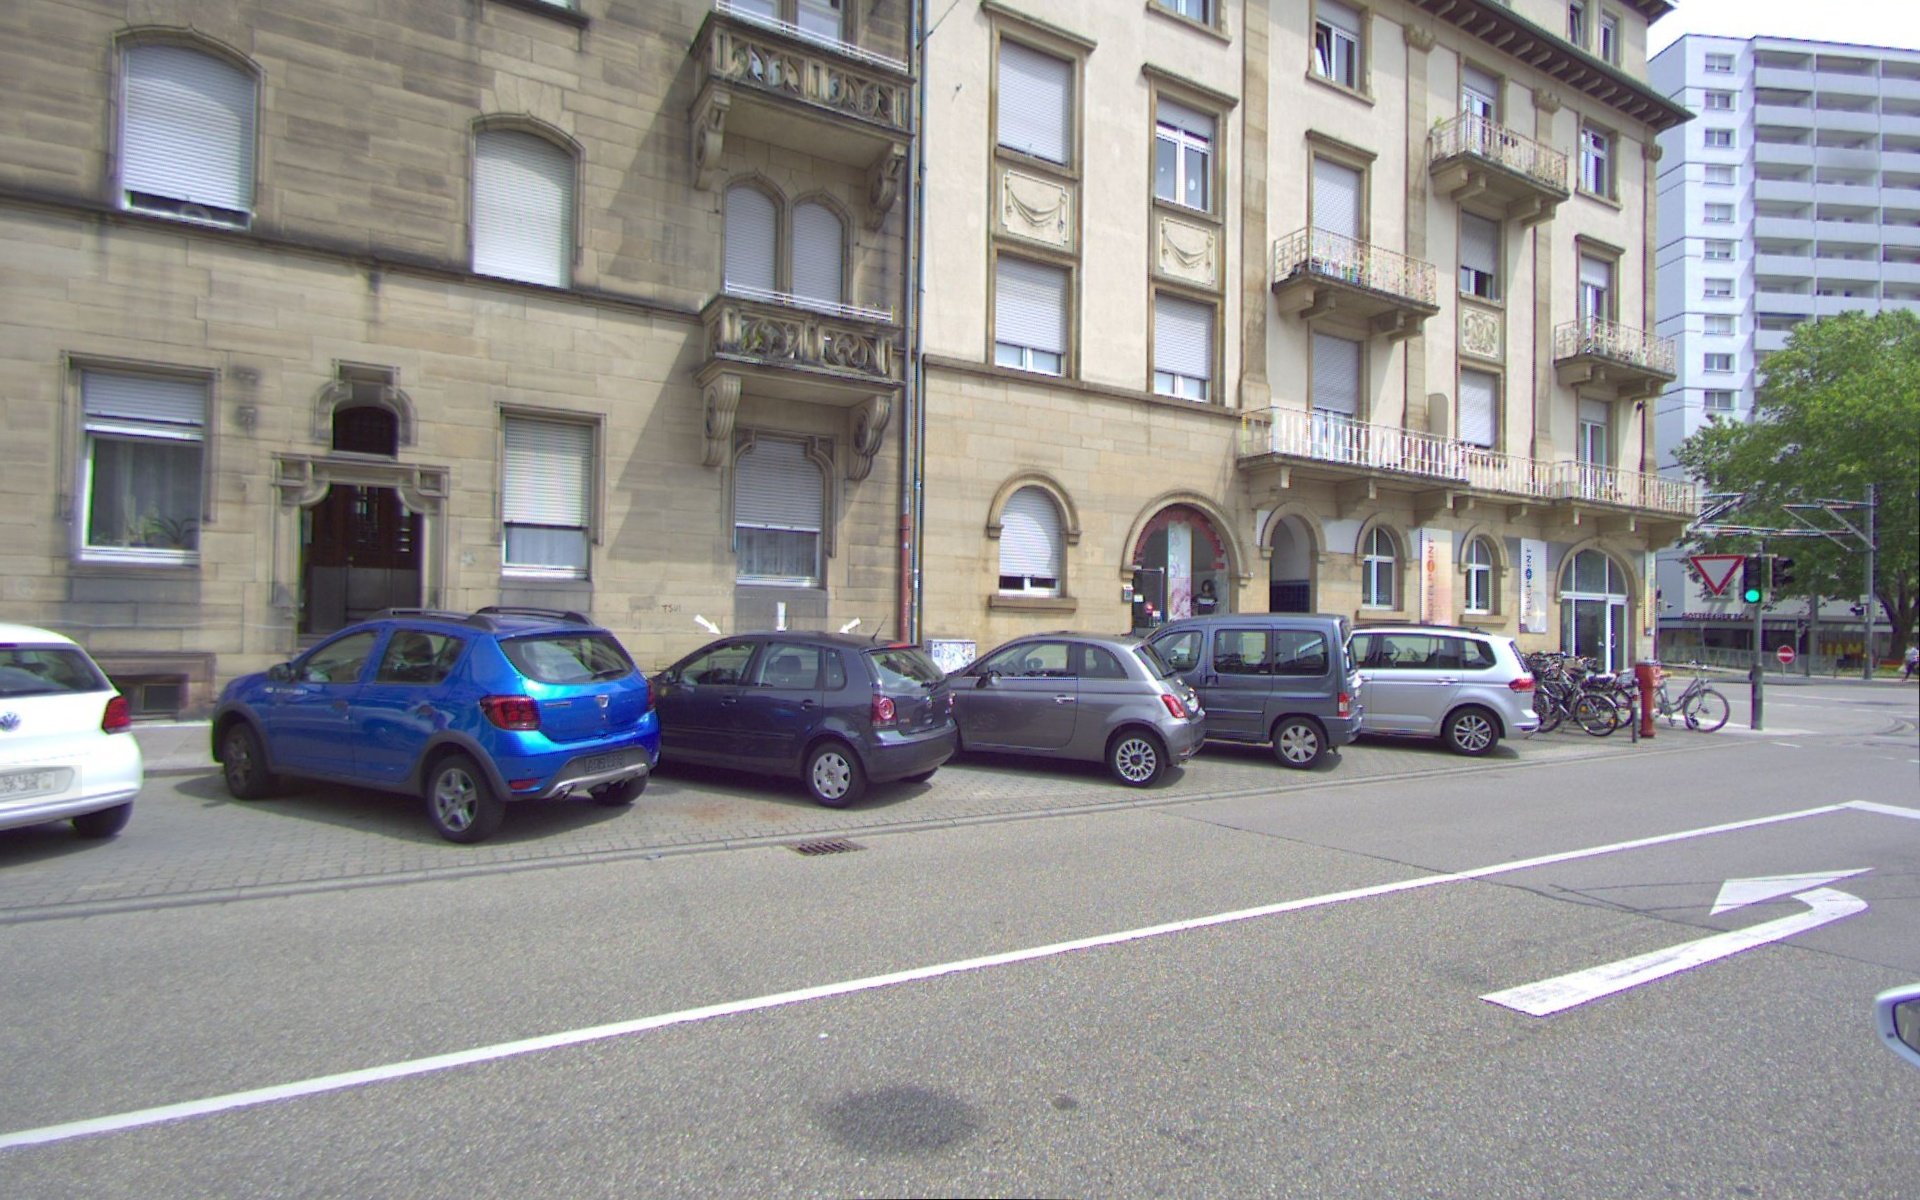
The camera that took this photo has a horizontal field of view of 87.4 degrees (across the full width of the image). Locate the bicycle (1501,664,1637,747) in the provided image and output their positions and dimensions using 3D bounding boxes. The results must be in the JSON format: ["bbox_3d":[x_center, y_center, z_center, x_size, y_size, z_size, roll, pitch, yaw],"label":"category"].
[{"bbox_3d":[9.348,1.594,15.501,0.585,1.135,1.805,1,-2,-23],"label":"bicycle"}]

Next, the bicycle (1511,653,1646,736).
[{"bbox_3d":[10.260,1.539,16.713,0.588,1.182,1.796,2,0,-36],"label":"bicycle"}]

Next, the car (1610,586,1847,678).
[{"bbox_3d":[36.669,1.517,48.659,3.389,3.967,9.912,1,-1,-4],"label":"car"}]

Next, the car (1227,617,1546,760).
[{"bbox_3d":[5.945,1.158,14.331,3.934,1.797,1.796,0,-1,22],"label":"car"}]

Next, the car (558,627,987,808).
[{"bbox_3d":[-1.856,1.018,9.970,3.830,1.462,1.836,0,-1,25],"label":"car"}]

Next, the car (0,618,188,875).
[{"bbox_3d":[-7.247,0.871,6.774,3.616,1.501,1.741,0,-1,25],"label":"car"}]

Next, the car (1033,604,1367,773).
[{"bbox_3d":[3.094,1.023,12.890,3.934,1.903,1.796,0,-1,22],"label":"car"}]

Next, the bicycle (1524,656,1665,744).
[{"bbox_3d":[9.932,1.535,15.795,0.586,1.135,1.803,1,2,-25],"label":"bicycle"}]

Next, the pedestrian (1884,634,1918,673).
[{"bbox_3d":[39.953,2.264,42.663,0.709,1.593,0.810,0,-1,9],"label":"pedestrian"}]

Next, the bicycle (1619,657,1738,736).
[{"bbox_3d":[12.457,1.642,17.500,0.489,1.182,1.878,2,0,-8],"label":"bicycle"}]

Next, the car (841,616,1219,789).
[{"bbox_3d":[0.823,1.048,11.439,3.934,1.673,1.796,0,-2,22],"label":"car"}]

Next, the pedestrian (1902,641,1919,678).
[{"bbox_3d":[41.064,2.550,42.974,0.709,1.534,0.933,0,-1,13],"label":"pedestrian"}]

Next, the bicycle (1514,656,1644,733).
[{"bbox_3d":[10.623,1.597,17.306,0.588,1.135,1.796,2,0,-36],"label":"bicycle"}]

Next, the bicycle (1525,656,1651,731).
[{"bbox_3d":[11.117,1.622,17.836,0.588,1.135,1.796,2,0,-36],"label":"bicycle"}]

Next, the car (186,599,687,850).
[{"bbox_3d":[-4.299,0.855,8.259,3.707,1.673,1.723,0,-1,25],"label":"car"}]
